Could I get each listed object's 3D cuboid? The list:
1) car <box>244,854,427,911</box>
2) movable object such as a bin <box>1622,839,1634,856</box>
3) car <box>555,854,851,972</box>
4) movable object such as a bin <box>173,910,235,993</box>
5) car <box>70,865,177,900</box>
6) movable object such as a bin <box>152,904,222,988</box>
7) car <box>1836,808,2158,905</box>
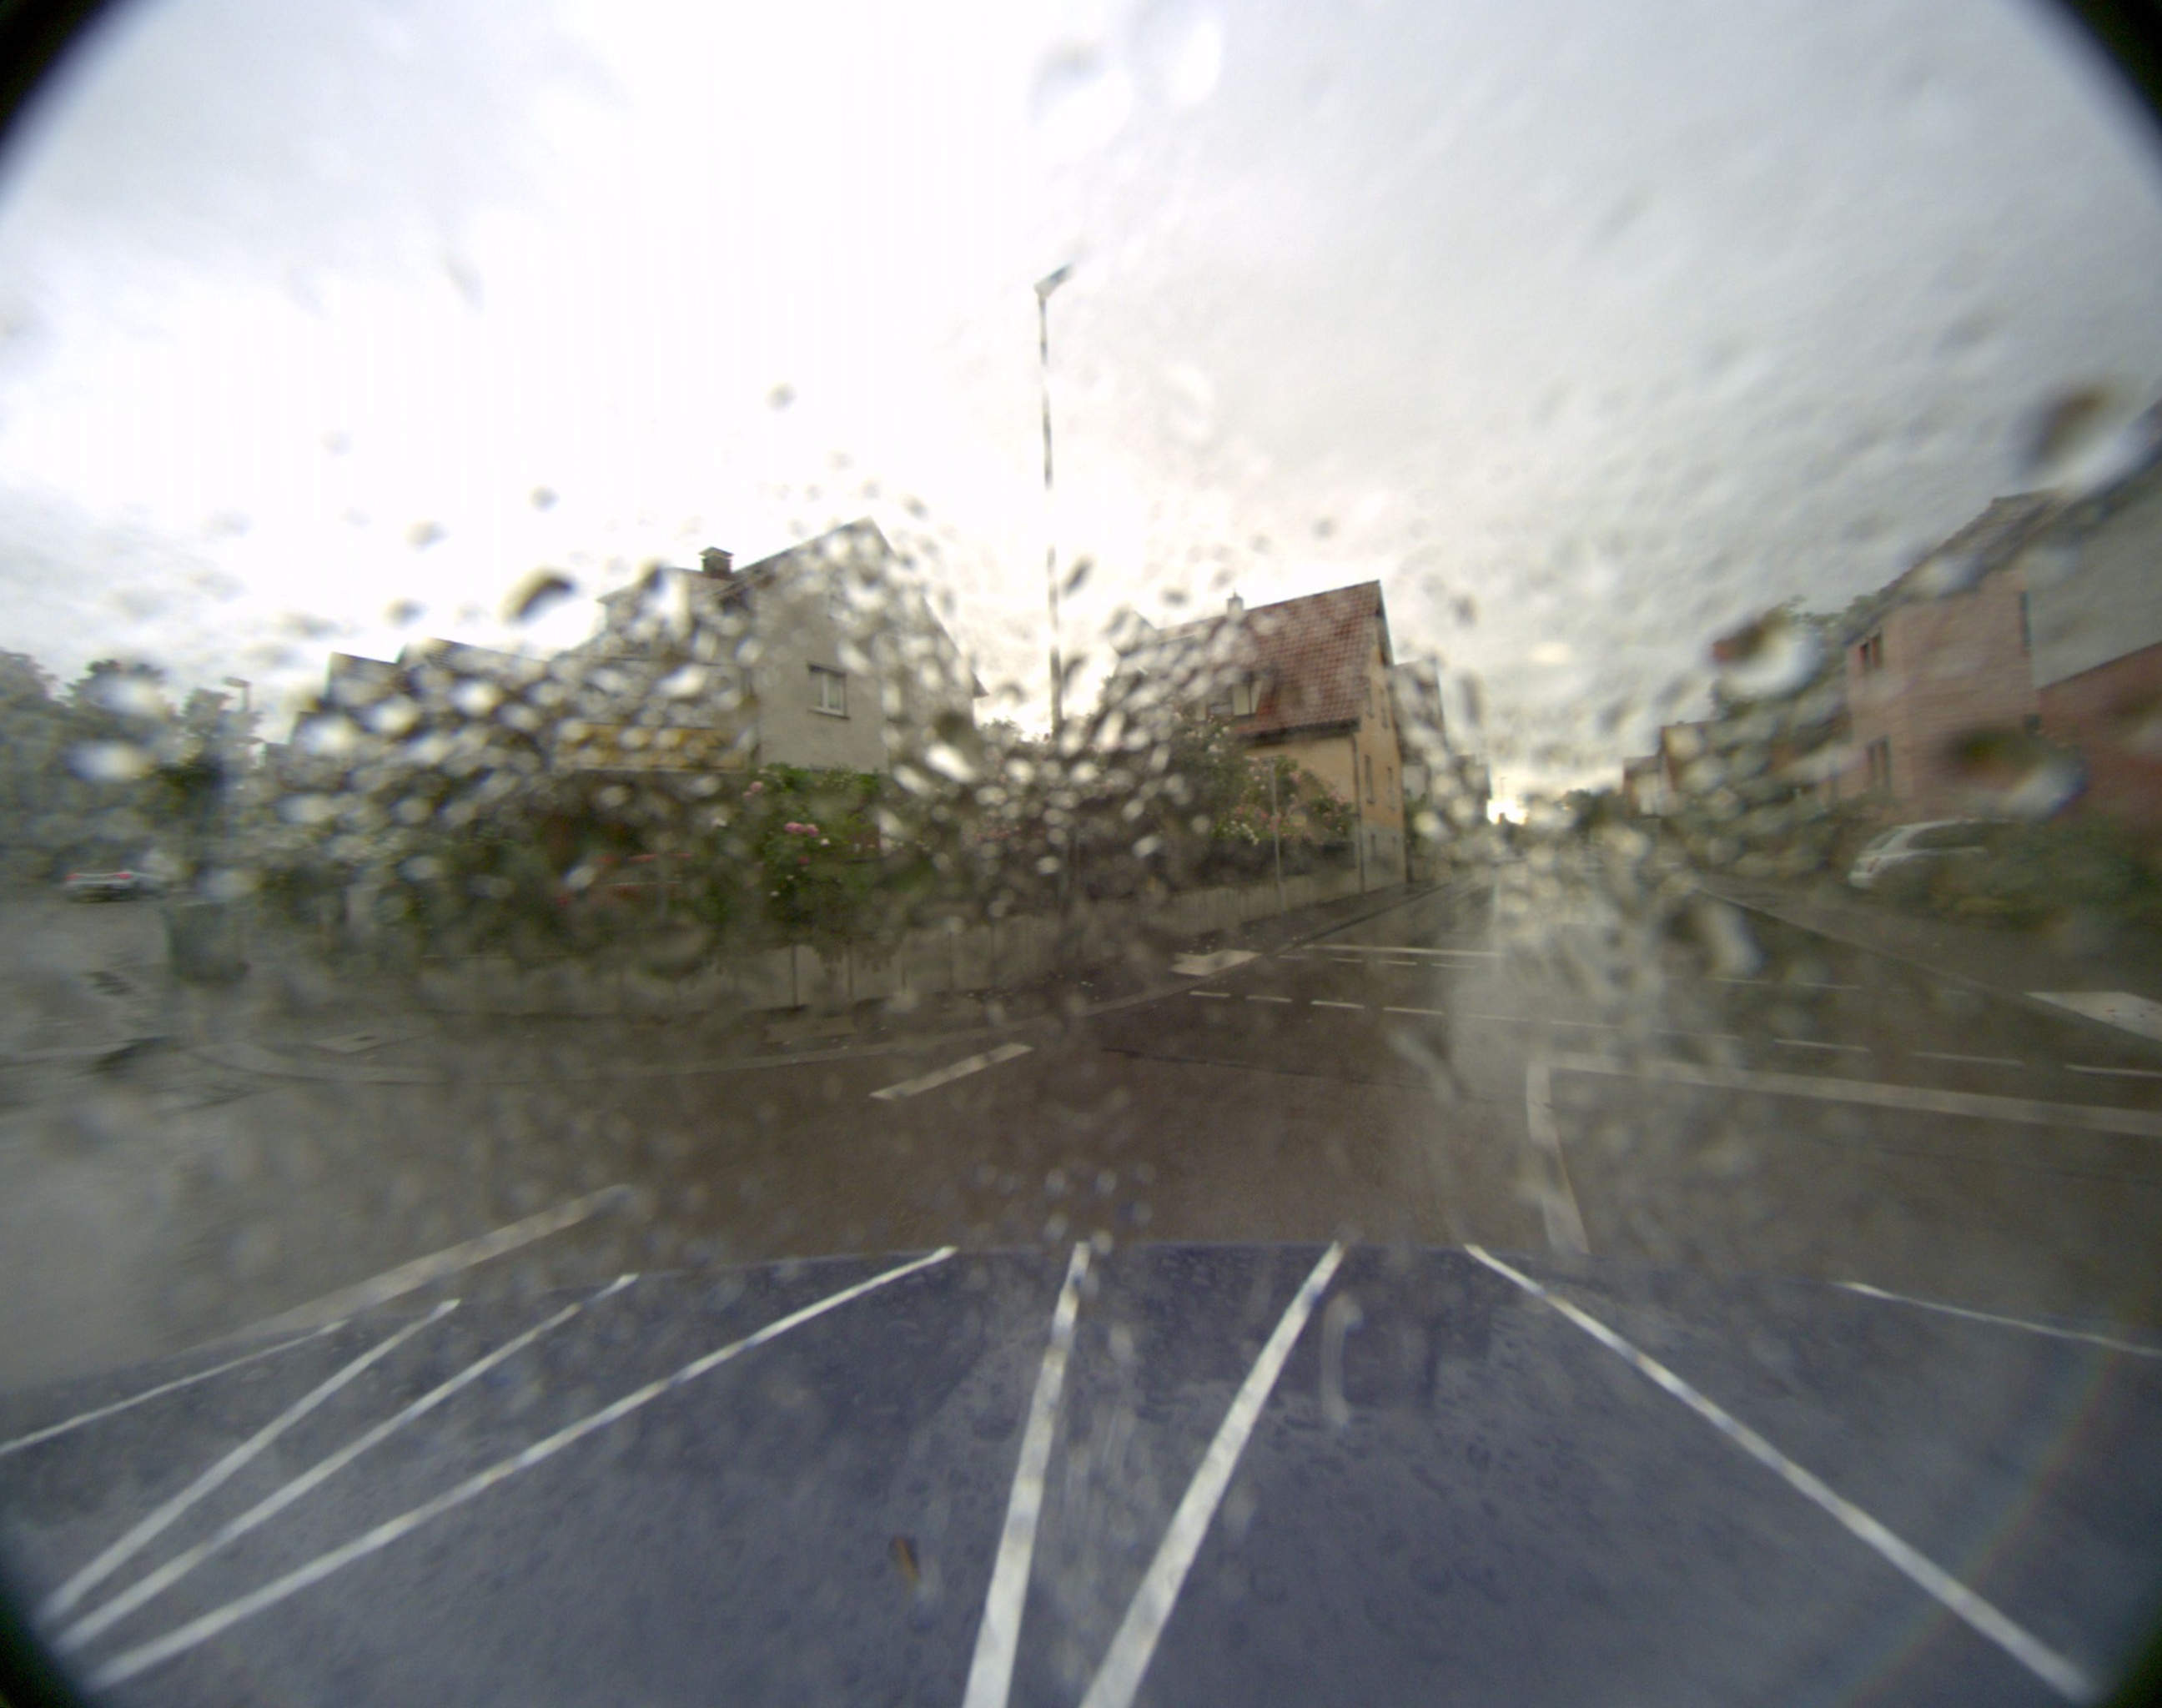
[{"bbox_3d":[-25.036,0.906,25.678,1.777,1.696,4.007,-1,1,29],"label":"car"},{"bbox_3d":[36.167,-0.429,50.253,0.553,1.076,0.528,-6,-2,34],"label":"movable object such as a bin"},{"bbox_3d":[-5.924,0.801,12.386,1.716,1.589,4.008,0,0,33],"label":"car"},{"bbox_3d":[-11.689,1.285,10.135,0.413,1.020,0.523,0,1,41],"label":"movable object such as a bin"},{"bbox_3d":[-40.416,1.154,32.170,1.769,1.346,3.668,0,0,-34],"label":"car"},{"bbox_3d":[-12.161,1.236,10.354,0.413,1.044,0.523,0,5,41],"label":"movable object such as a bin"},{"bbox_3d":[17.252,0.083,14.604,3.548,1.520,1.666,-5,-1,33],"label":"car"}]
